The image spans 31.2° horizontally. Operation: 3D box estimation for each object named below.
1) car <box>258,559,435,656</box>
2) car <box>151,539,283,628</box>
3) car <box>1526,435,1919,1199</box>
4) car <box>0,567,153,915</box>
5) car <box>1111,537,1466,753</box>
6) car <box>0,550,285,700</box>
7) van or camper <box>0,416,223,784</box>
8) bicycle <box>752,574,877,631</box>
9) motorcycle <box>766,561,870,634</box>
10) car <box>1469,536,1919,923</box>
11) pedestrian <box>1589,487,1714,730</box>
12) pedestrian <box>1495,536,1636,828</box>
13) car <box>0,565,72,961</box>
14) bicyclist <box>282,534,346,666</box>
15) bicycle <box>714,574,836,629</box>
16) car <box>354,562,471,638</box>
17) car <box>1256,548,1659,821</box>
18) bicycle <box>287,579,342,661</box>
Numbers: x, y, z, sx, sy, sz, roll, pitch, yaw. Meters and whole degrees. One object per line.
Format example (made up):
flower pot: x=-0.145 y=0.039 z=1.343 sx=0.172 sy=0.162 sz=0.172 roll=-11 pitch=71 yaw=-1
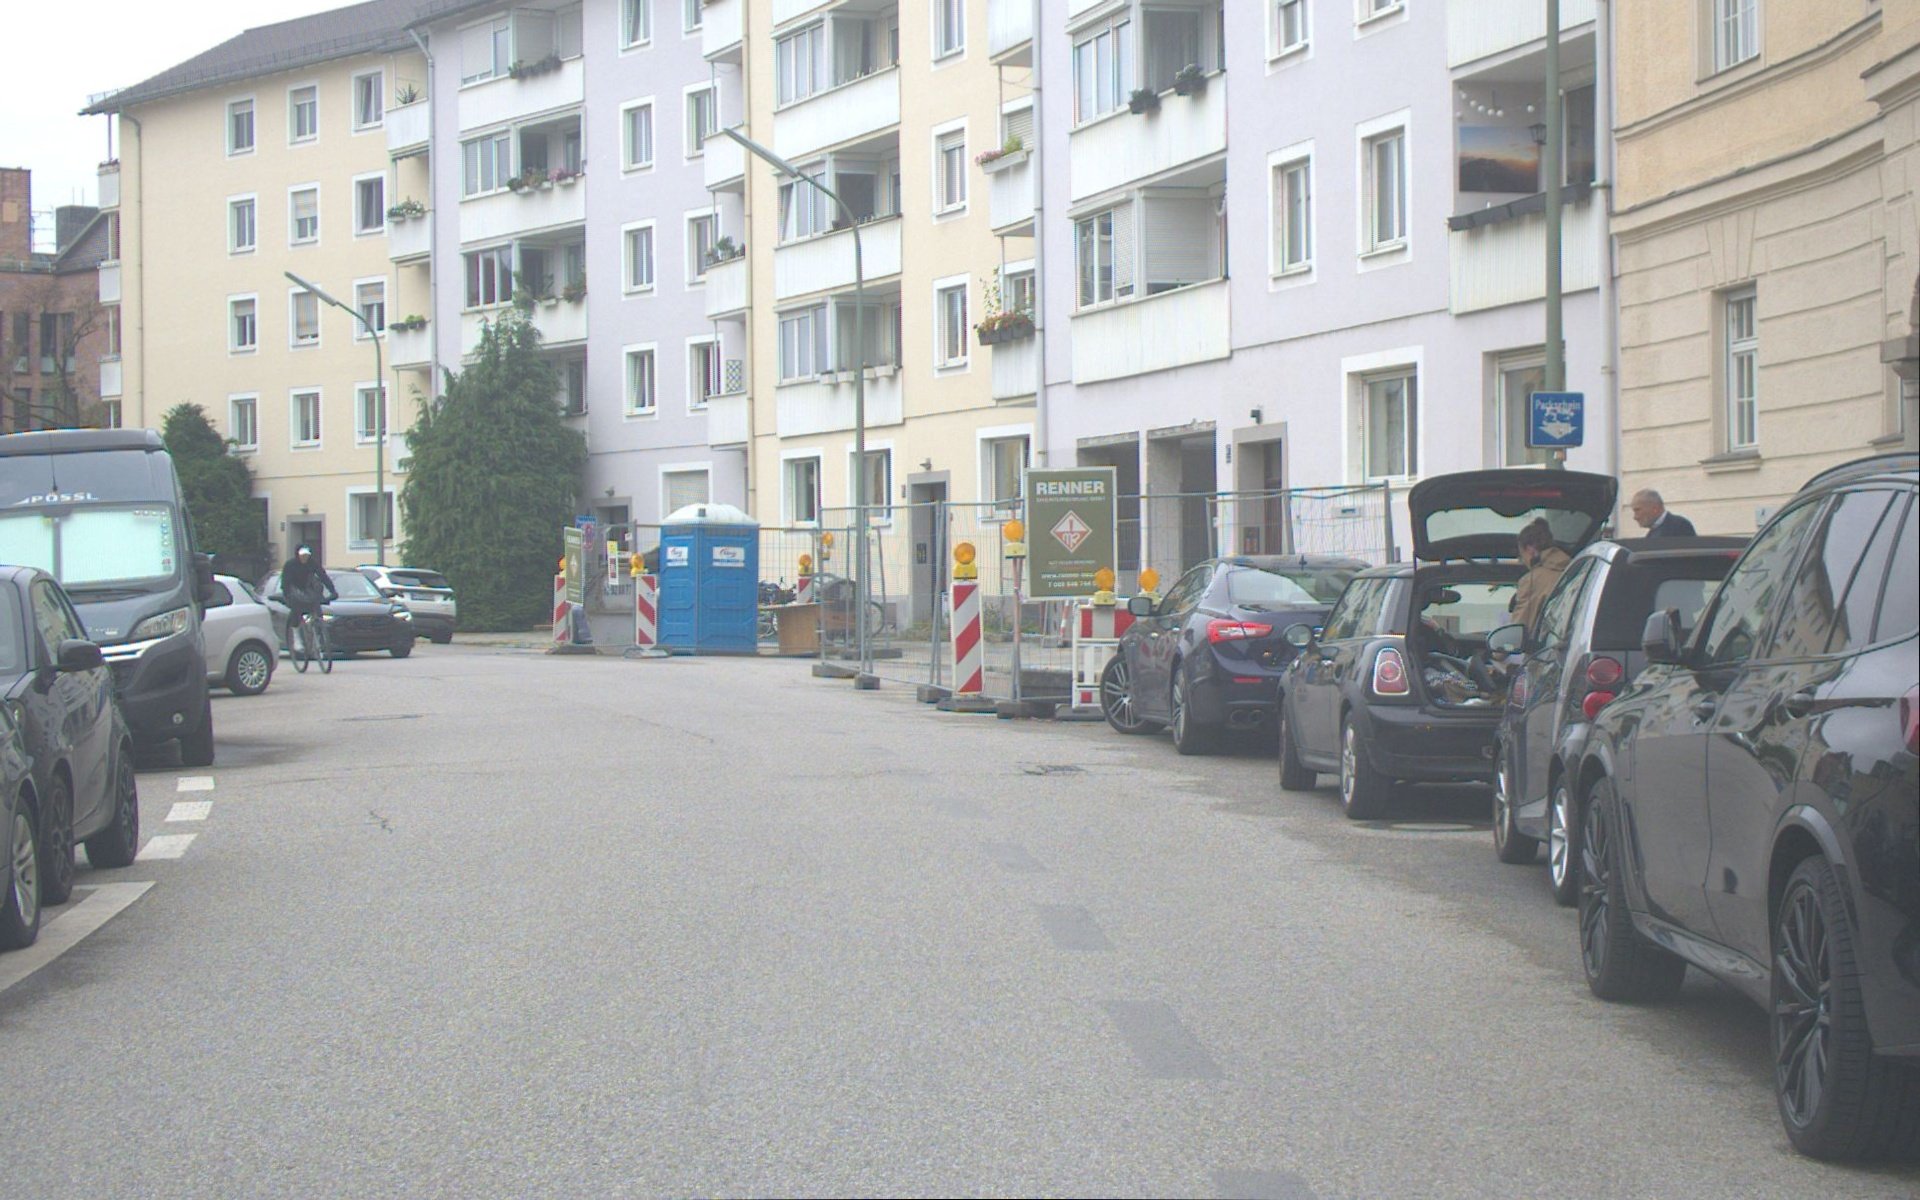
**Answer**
car: x=-9.947 y=0.115 z=55.483 sx=1.919 sy=1.407 sz=4.705 roll=-3 pitch=1 yaw=-20
car: x=-17.381 y=-0.392 z=80.359 sx=1.781 sy=1.970 sz=3.720 roll=-3 pitch=2 yaw=-32
car: x=3.116 y=0.473 z=9.821 sx=2.170 sy=1.733 sz=5.024 roll=1 pitch=1 yaw=0
car: x=-4.812 y=0.624 z=16.146 sx=1.519 sy=1.460 sz=2.887 roll=-3 pitch=1 yaw=-5
car: x=2.397 y=0.272 z=26.369 sx=1.908 sy=1.472 sz=4.947 roll=0 pitch=1 yaw=-4
car: x=-9.842 y=0.268 z=39.477 sx=1.713 sy=1.502 sz=3.801 roll=-2 pitch=1 yaw=40
van or camper: x=-7.028 y=-0.072 z=27.108 sx=2.296 sy=2.572 sz=6.087 roll=0 pitch=1 yaw=-11
bicycle: x=-2.827 y=0.042 z=66.749 sx=2.232 sy=1.066 sz=0.920 roll=0 pitch=1 yaw=-24
motorcycle: x=-2.441 y=-0.057 z=58.722 sx=0.931 sy=1.217 sz=2.508 roll=0 pitch=1 yaw=-24
car: x=3.243 y=0.496 z=15.427 sx=1.514 sy=1.549 sz=3.019 roll=1 pitch=1 yaw=1
pedestrian: x=4.978 y=0.053 z=24.779 sx=0.617 sy=1.684 sz=0.919 roll=-4 pitch=0 yaw=0
pedestrian: x=3.214 y=0.424 z=18.287 sx=0.628 sy=1.523 sz=0.578 roll=0 pitch=1 yaw=-1
car: x=-4.425 y=0.667 z=11.995 sx=1.774 sy=1.460 sz=4.467 roll=-3 pitch=1 yaw=-5
bicyclist: x=-8.884 y=-0.009 z=47.261 sx=0.744 sy=1.765 sz=0.815 roll=-3 pitch=2 yaw=-13
bicycle: x=-3.653 y=0.017 z=68.055 sx=2.232 sy=1.066 sz=0.920 roll=0 pitch=1 yaw=-24
car: x=-11.603 y=-0.018 z=72.650 sx=1.830 sy=1.568 sz=4.001 roll=0 pitch=1 yaw=-18
car: x=2.795 y=0.420 z=20.036 sx=1.630 sy=1.412 sz=3.680 roll=0 pitch=1 yaw=-3
bicycle: x=-8.876 y=0.262 z=47.251 sx=0.585 sy=1.066 sz=1.937 roll=-3 pitch=2 yaw=-14
